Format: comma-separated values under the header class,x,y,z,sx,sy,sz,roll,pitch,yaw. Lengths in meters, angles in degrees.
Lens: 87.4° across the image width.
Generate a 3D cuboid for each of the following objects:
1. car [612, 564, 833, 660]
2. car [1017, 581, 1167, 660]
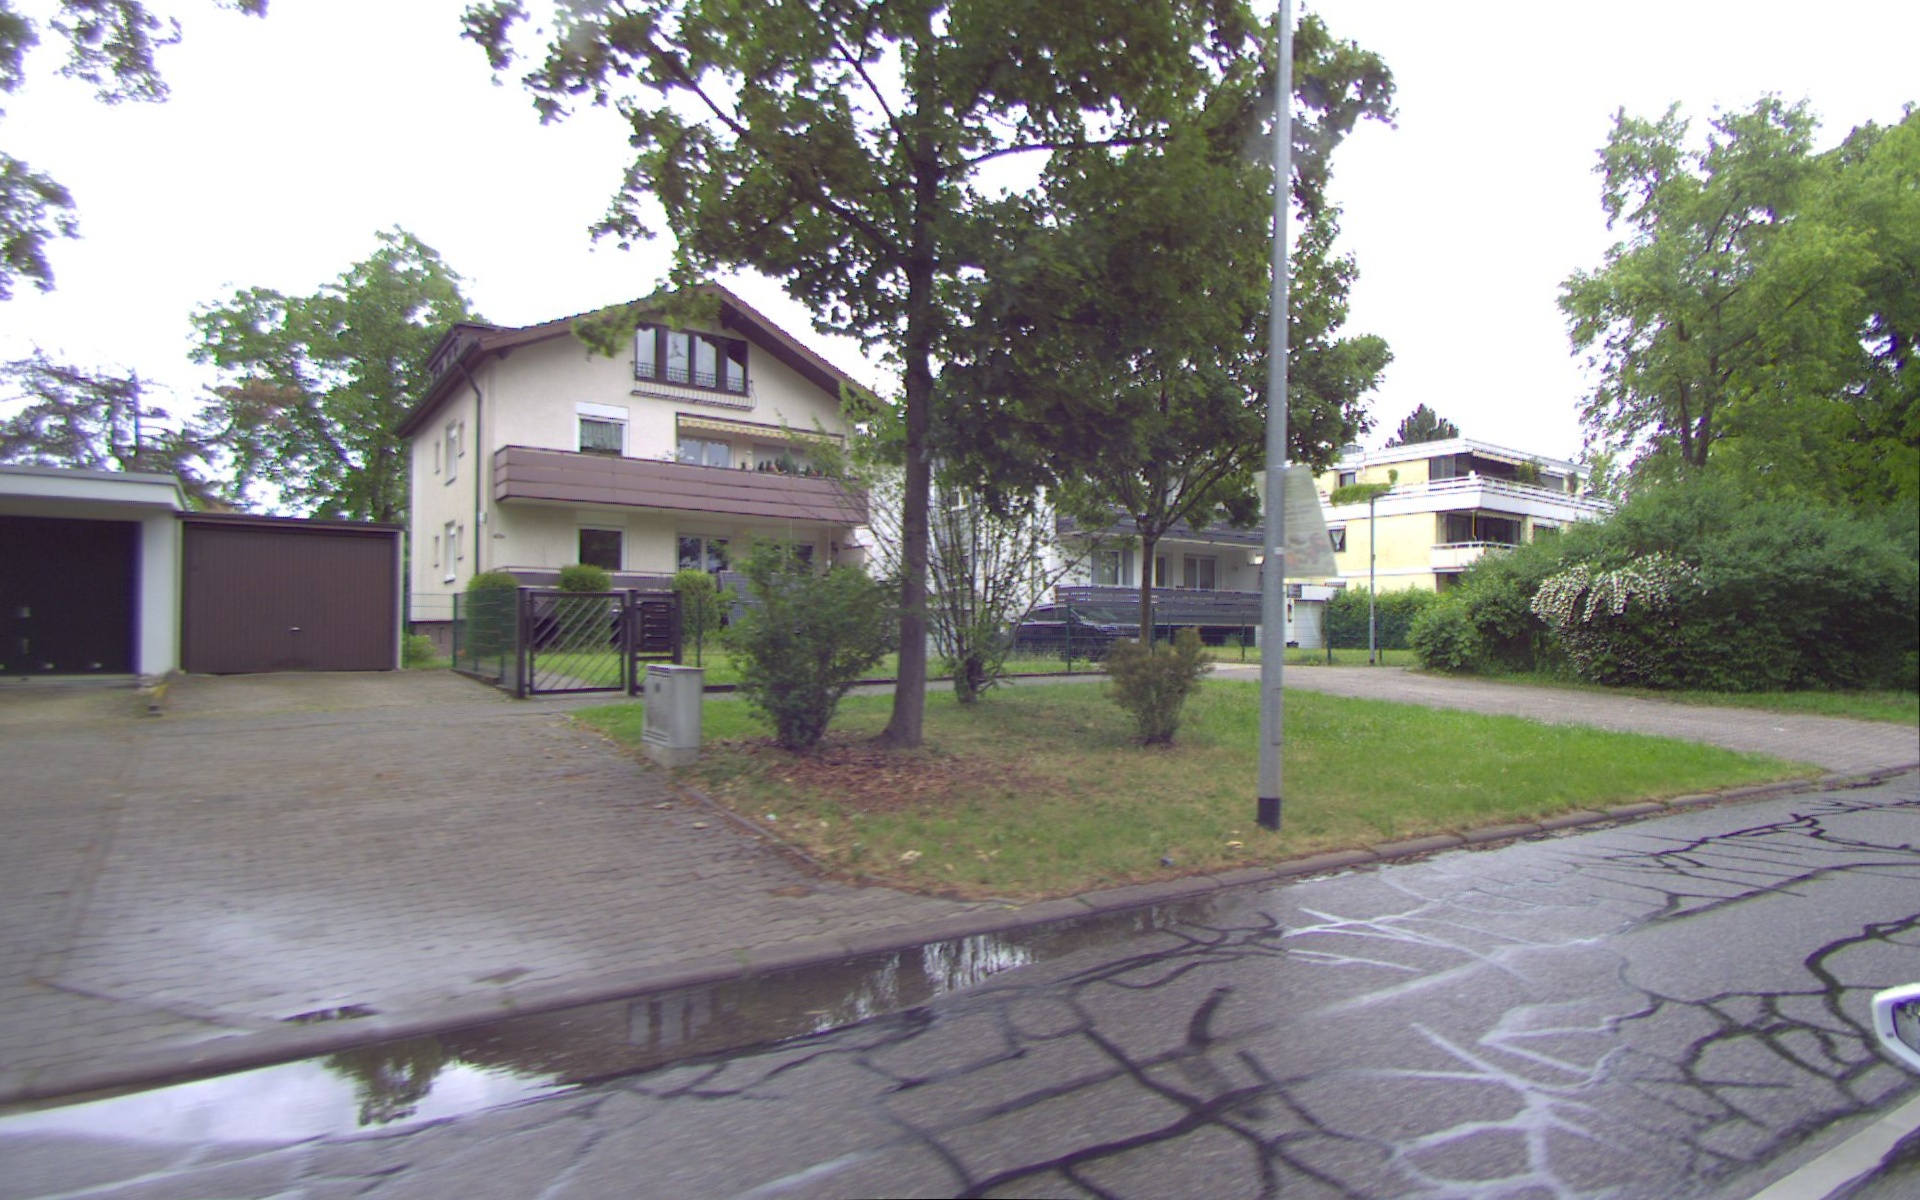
class,x,y,z,sx,sy,sz,roll,pitch,yaw
car,-6.025,0.228,24.911,3.446,2.065,5.703,1,1,-36
car,3.593,0.593,27.913,1.980,2.040,3.961,1,-2,-35
